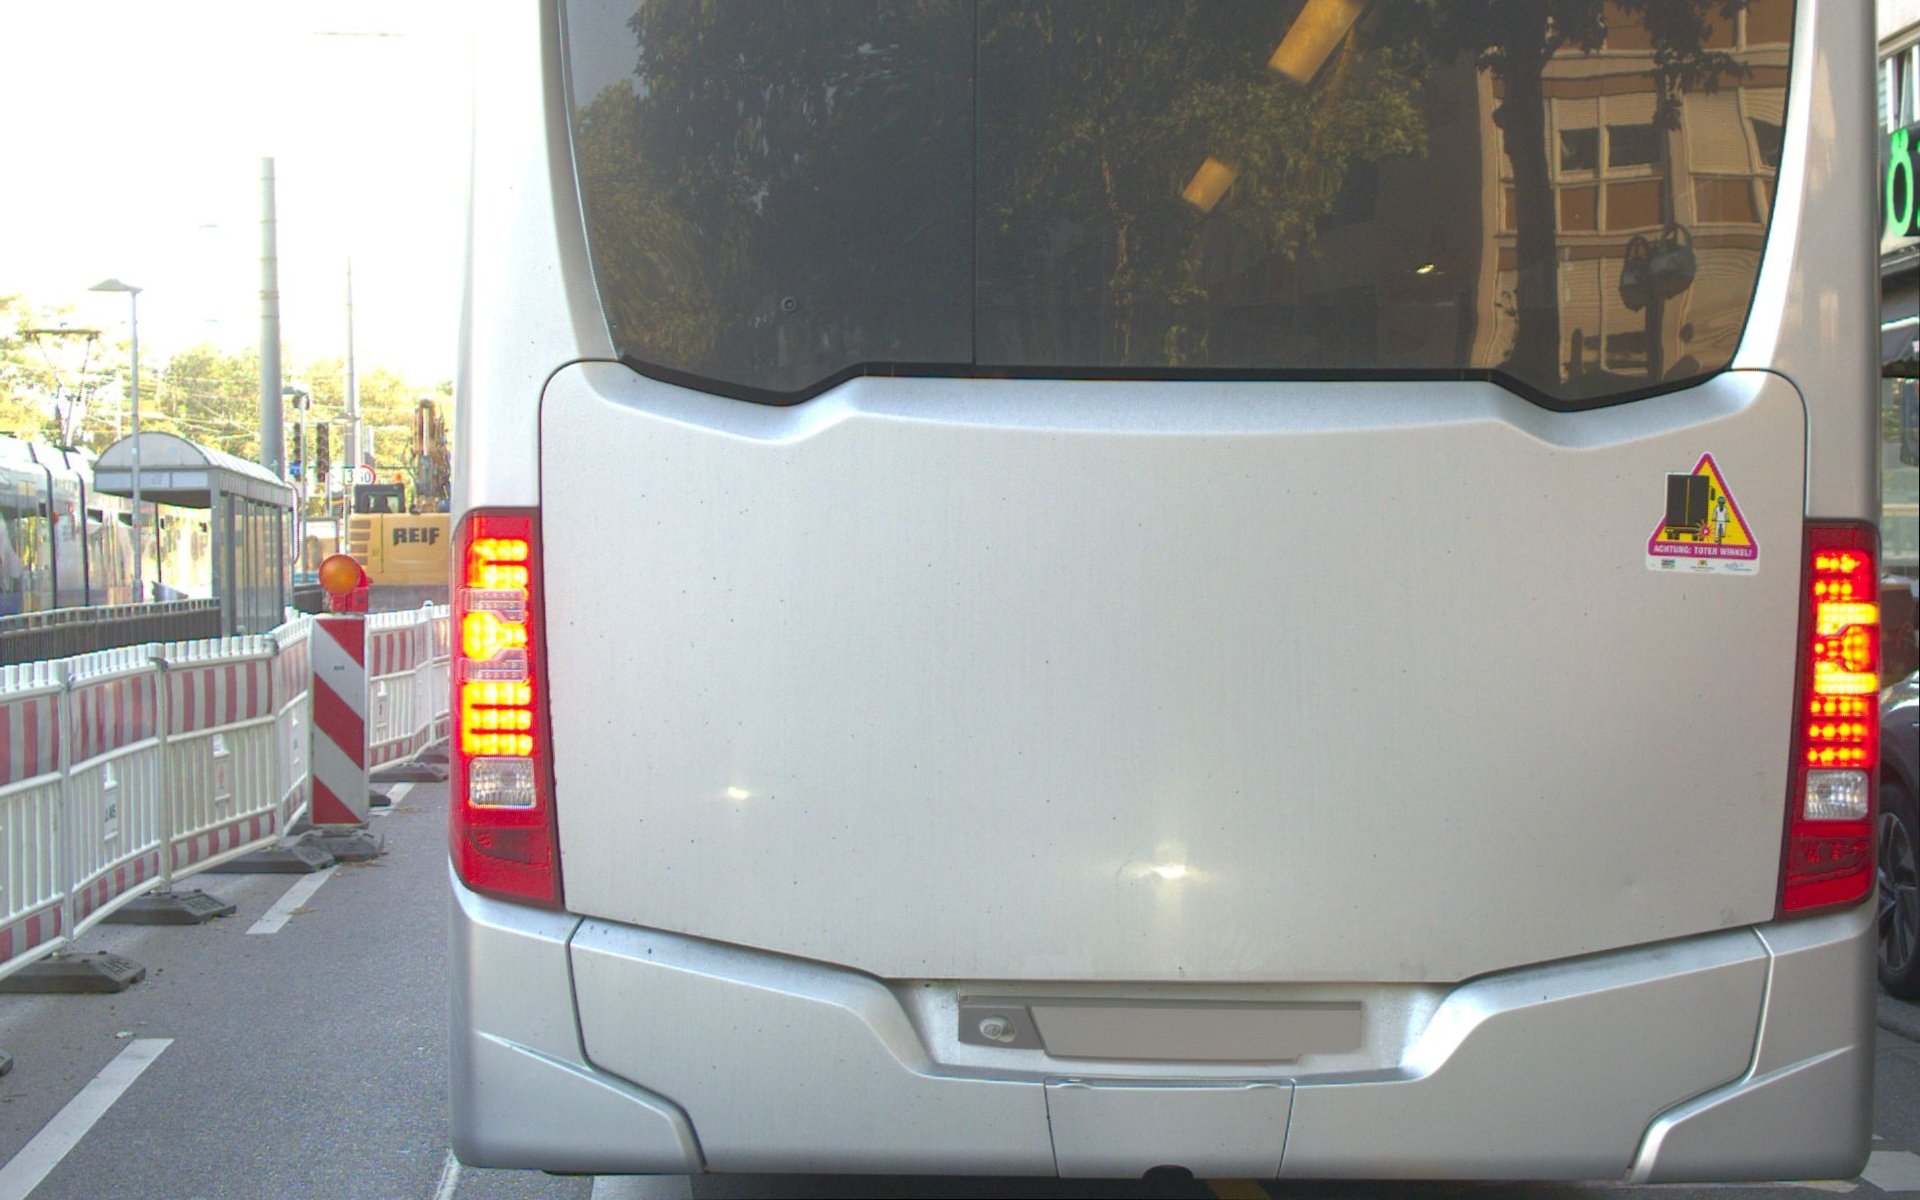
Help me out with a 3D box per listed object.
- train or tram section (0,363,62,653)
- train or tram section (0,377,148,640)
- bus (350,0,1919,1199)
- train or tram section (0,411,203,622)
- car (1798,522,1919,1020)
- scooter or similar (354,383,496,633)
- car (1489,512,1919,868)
[{"bbox_3d":[-12.904,-1.117,40.517,2.686,3.521,11.774,1,1,-6],"label":"train or tram section"},{"bbox_3d":[-14.262,-1.314,52.096,2.686,3.546,11.585,1,1,-8],"label":"train or tram section"},{"bbox_3d":[0.291,-0.203,9.597,2.611,3.115,7.993,1,1,-1],"label":"bus"},{"bbox_3d":[-15.830,-1.463,63.565,2.686,3.521,11.585,1,1,-8],"label":"train or tram section"},{"bbox_3d":[4.137,0.531,9.875,1.993,1.576,4.369,-3,1,-5],"label":"car"},{"bbox_3d":[-9.978,-1.680,64.509,2.468,4.455,5.974,-1,1,-8],"label":"scooter or similar"},{"bbox_3d":[4.344,0.365,18.210,1.993,1.576,4.369,-3,1,-5],"label":"car"}]
